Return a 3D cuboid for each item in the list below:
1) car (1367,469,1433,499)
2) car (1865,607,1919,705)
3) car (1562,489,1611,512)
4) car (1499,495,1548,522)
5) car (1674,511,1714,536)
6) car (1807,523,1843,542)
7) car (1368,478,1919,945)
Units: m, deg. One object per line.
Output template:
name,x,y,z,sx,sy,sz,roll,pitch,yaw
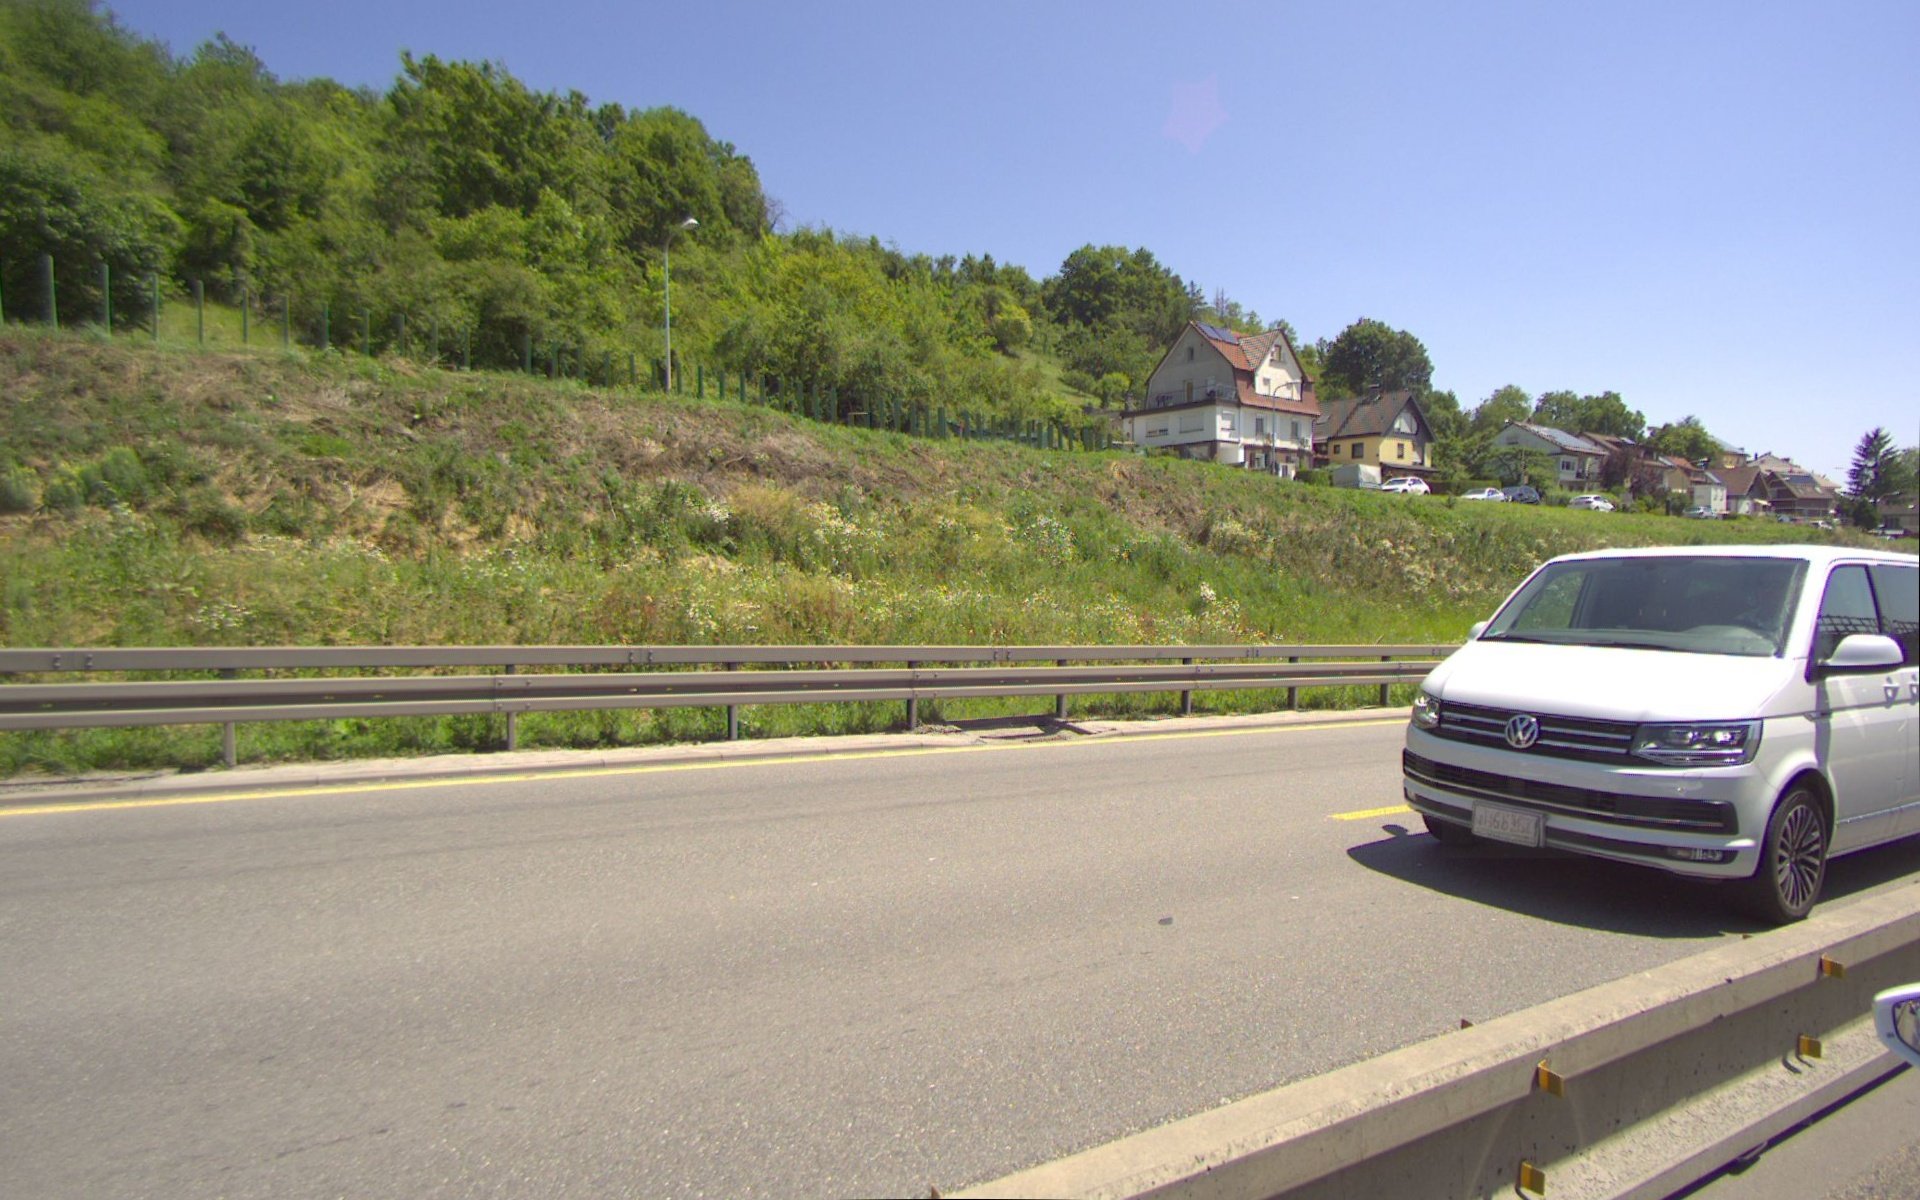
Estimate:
car,25.566,-6.694,58.306,3.970,1.337,1.975,1,4,-42
car,19.355,1.061,19.094,4.592,1.735,1.868,1,0,-30
car,46.723,-7.405,74.847,3.970,1.337,1.975,1,4,-42
car,37.914,-6.118,67.576,3.968,1.438,1.577,1,0,-40
car,62.777,-6.523,85.935,3.969,1.751,1.908,1,0,-41
car,92.246,-7.182,107.084,3.954,1.751,1.745,1,0,-31
car,4.971,0.555,6.426,4.751,2.040,1.853,2,0,-31
